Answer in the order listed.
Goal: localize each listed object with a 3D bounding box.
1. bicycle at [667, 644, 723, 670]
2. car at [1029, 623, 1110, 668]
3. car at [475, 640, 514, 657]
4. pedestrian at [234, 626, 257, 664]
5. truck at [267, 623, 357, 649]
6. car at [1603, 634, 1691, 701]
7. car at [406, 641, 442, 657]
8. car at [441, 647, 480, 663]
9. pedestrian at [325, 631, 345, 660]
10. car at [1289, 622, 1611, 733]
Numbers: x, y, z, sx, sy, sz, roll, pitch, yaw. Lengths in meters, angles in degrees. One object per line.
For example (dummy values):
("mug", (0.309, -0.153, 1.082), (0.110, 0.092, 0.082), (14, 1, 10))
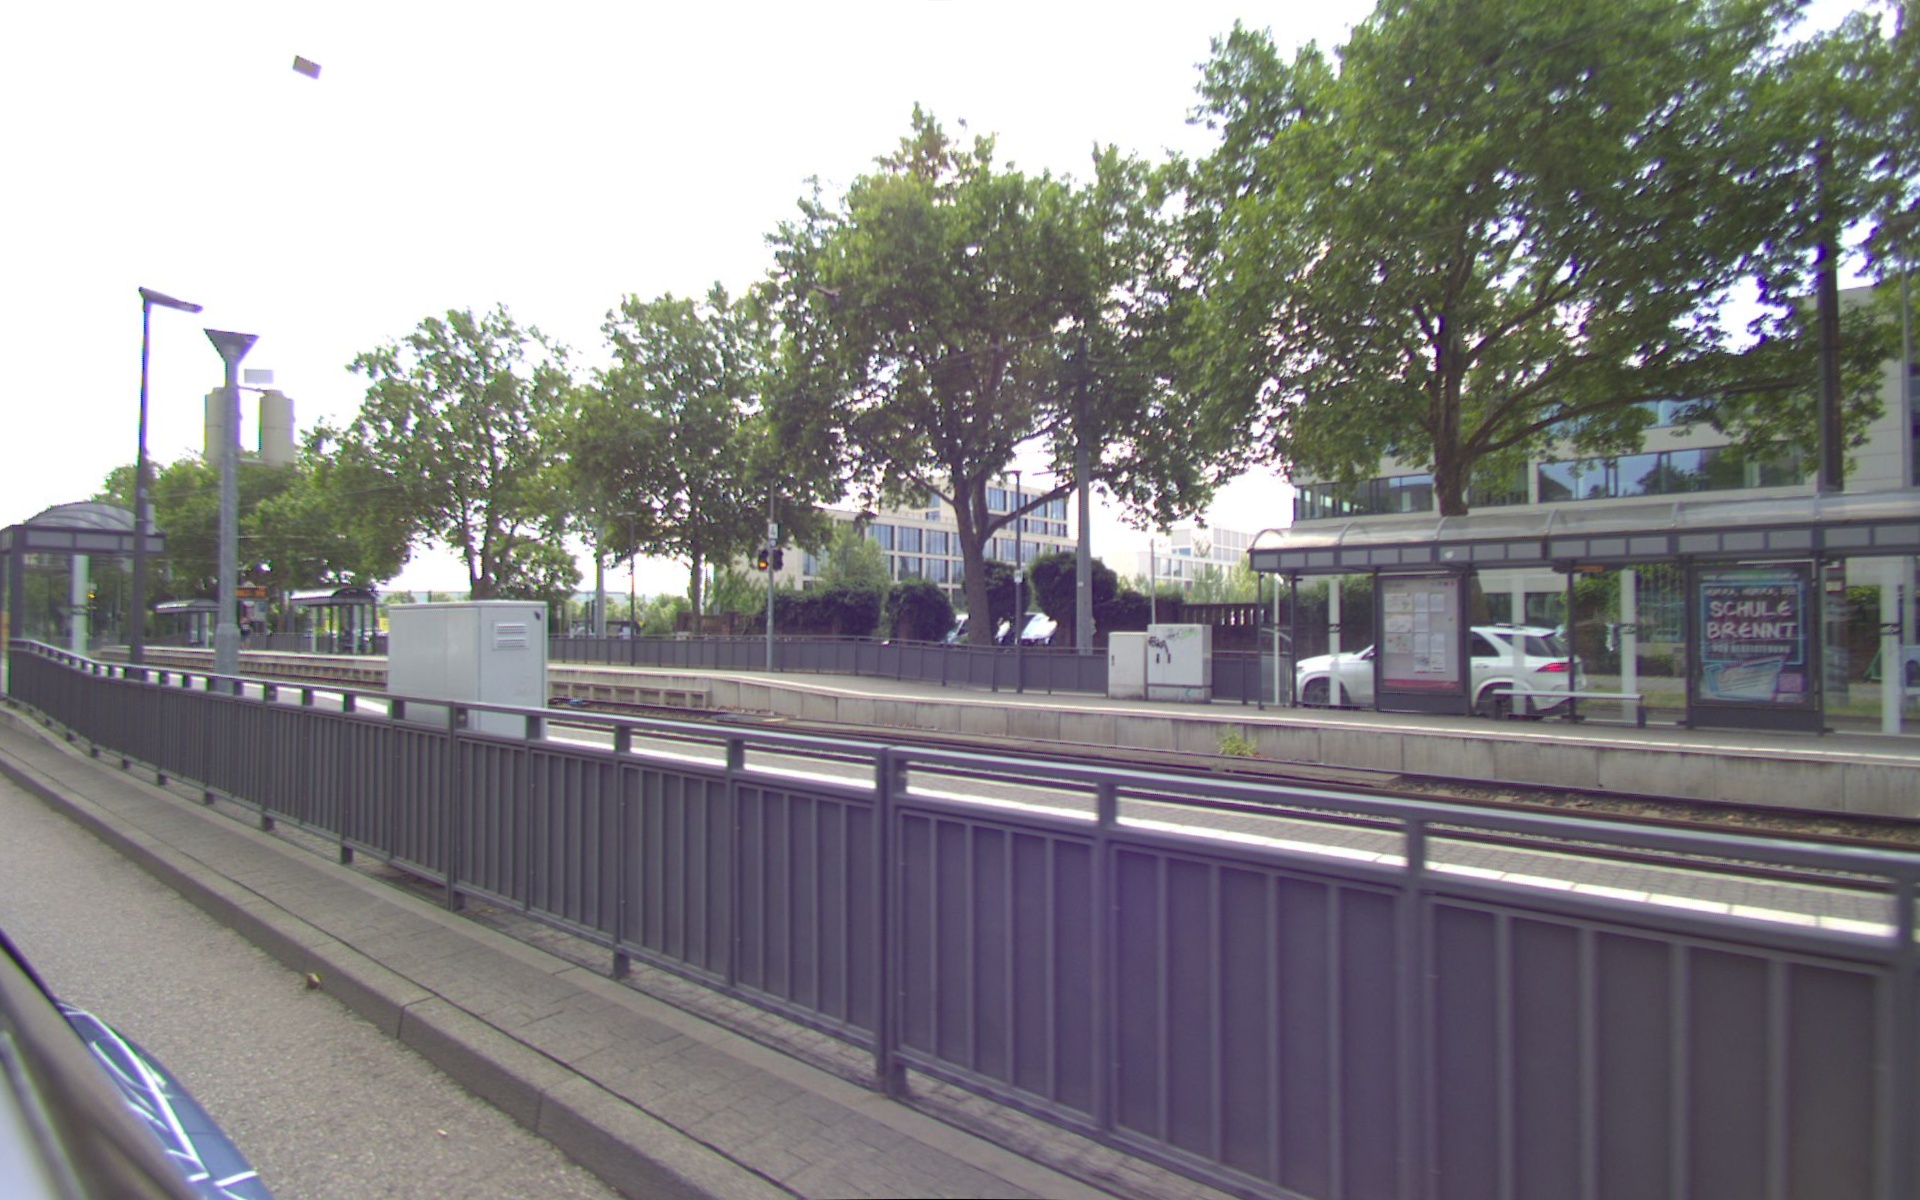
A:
("bicycle", (-14.174, 3.024, 54.201), (0.634, 1.176, 3.004), (-3, -1, 45))
("car", (5.344, 2.258, 49.035), (1.958, 2.049, 4.095), (-2, -5, 40))
("car", (-43.691, 4.560, 94.942), (3.997, 1.487, 1.779), (-3, -4, 40))
("pedestrian", (-35.702, 2.258, 50.554), (0.863, 1.859, 0.699), (-2, -3, 37))
("truck", (-111.208, 6.208, 173.982), (2.747, 4.105, 12.650), (-2, -5, 42))
("car", (22.462, 2.194, 33.035), (1.958, 2.049, 4.095), (-2, -5, 40))
("car", (-53.183, 4.877, 100.451), (3.997, 1.487, 1.779), (-3, -4, 40))
("car", (-45.776, 5.052, 92.690), (3.997, 1.487, 1.779), (-3, -4, 40))
("pedestrian", (-28.040, 2.037, 45.401), (0.767, 1.279, 0.547), (-3, -4, 42))
("car", (8.601, 1.292, 18.026), (4.817, 1.718, 1.973), (-2, -3, 40))
